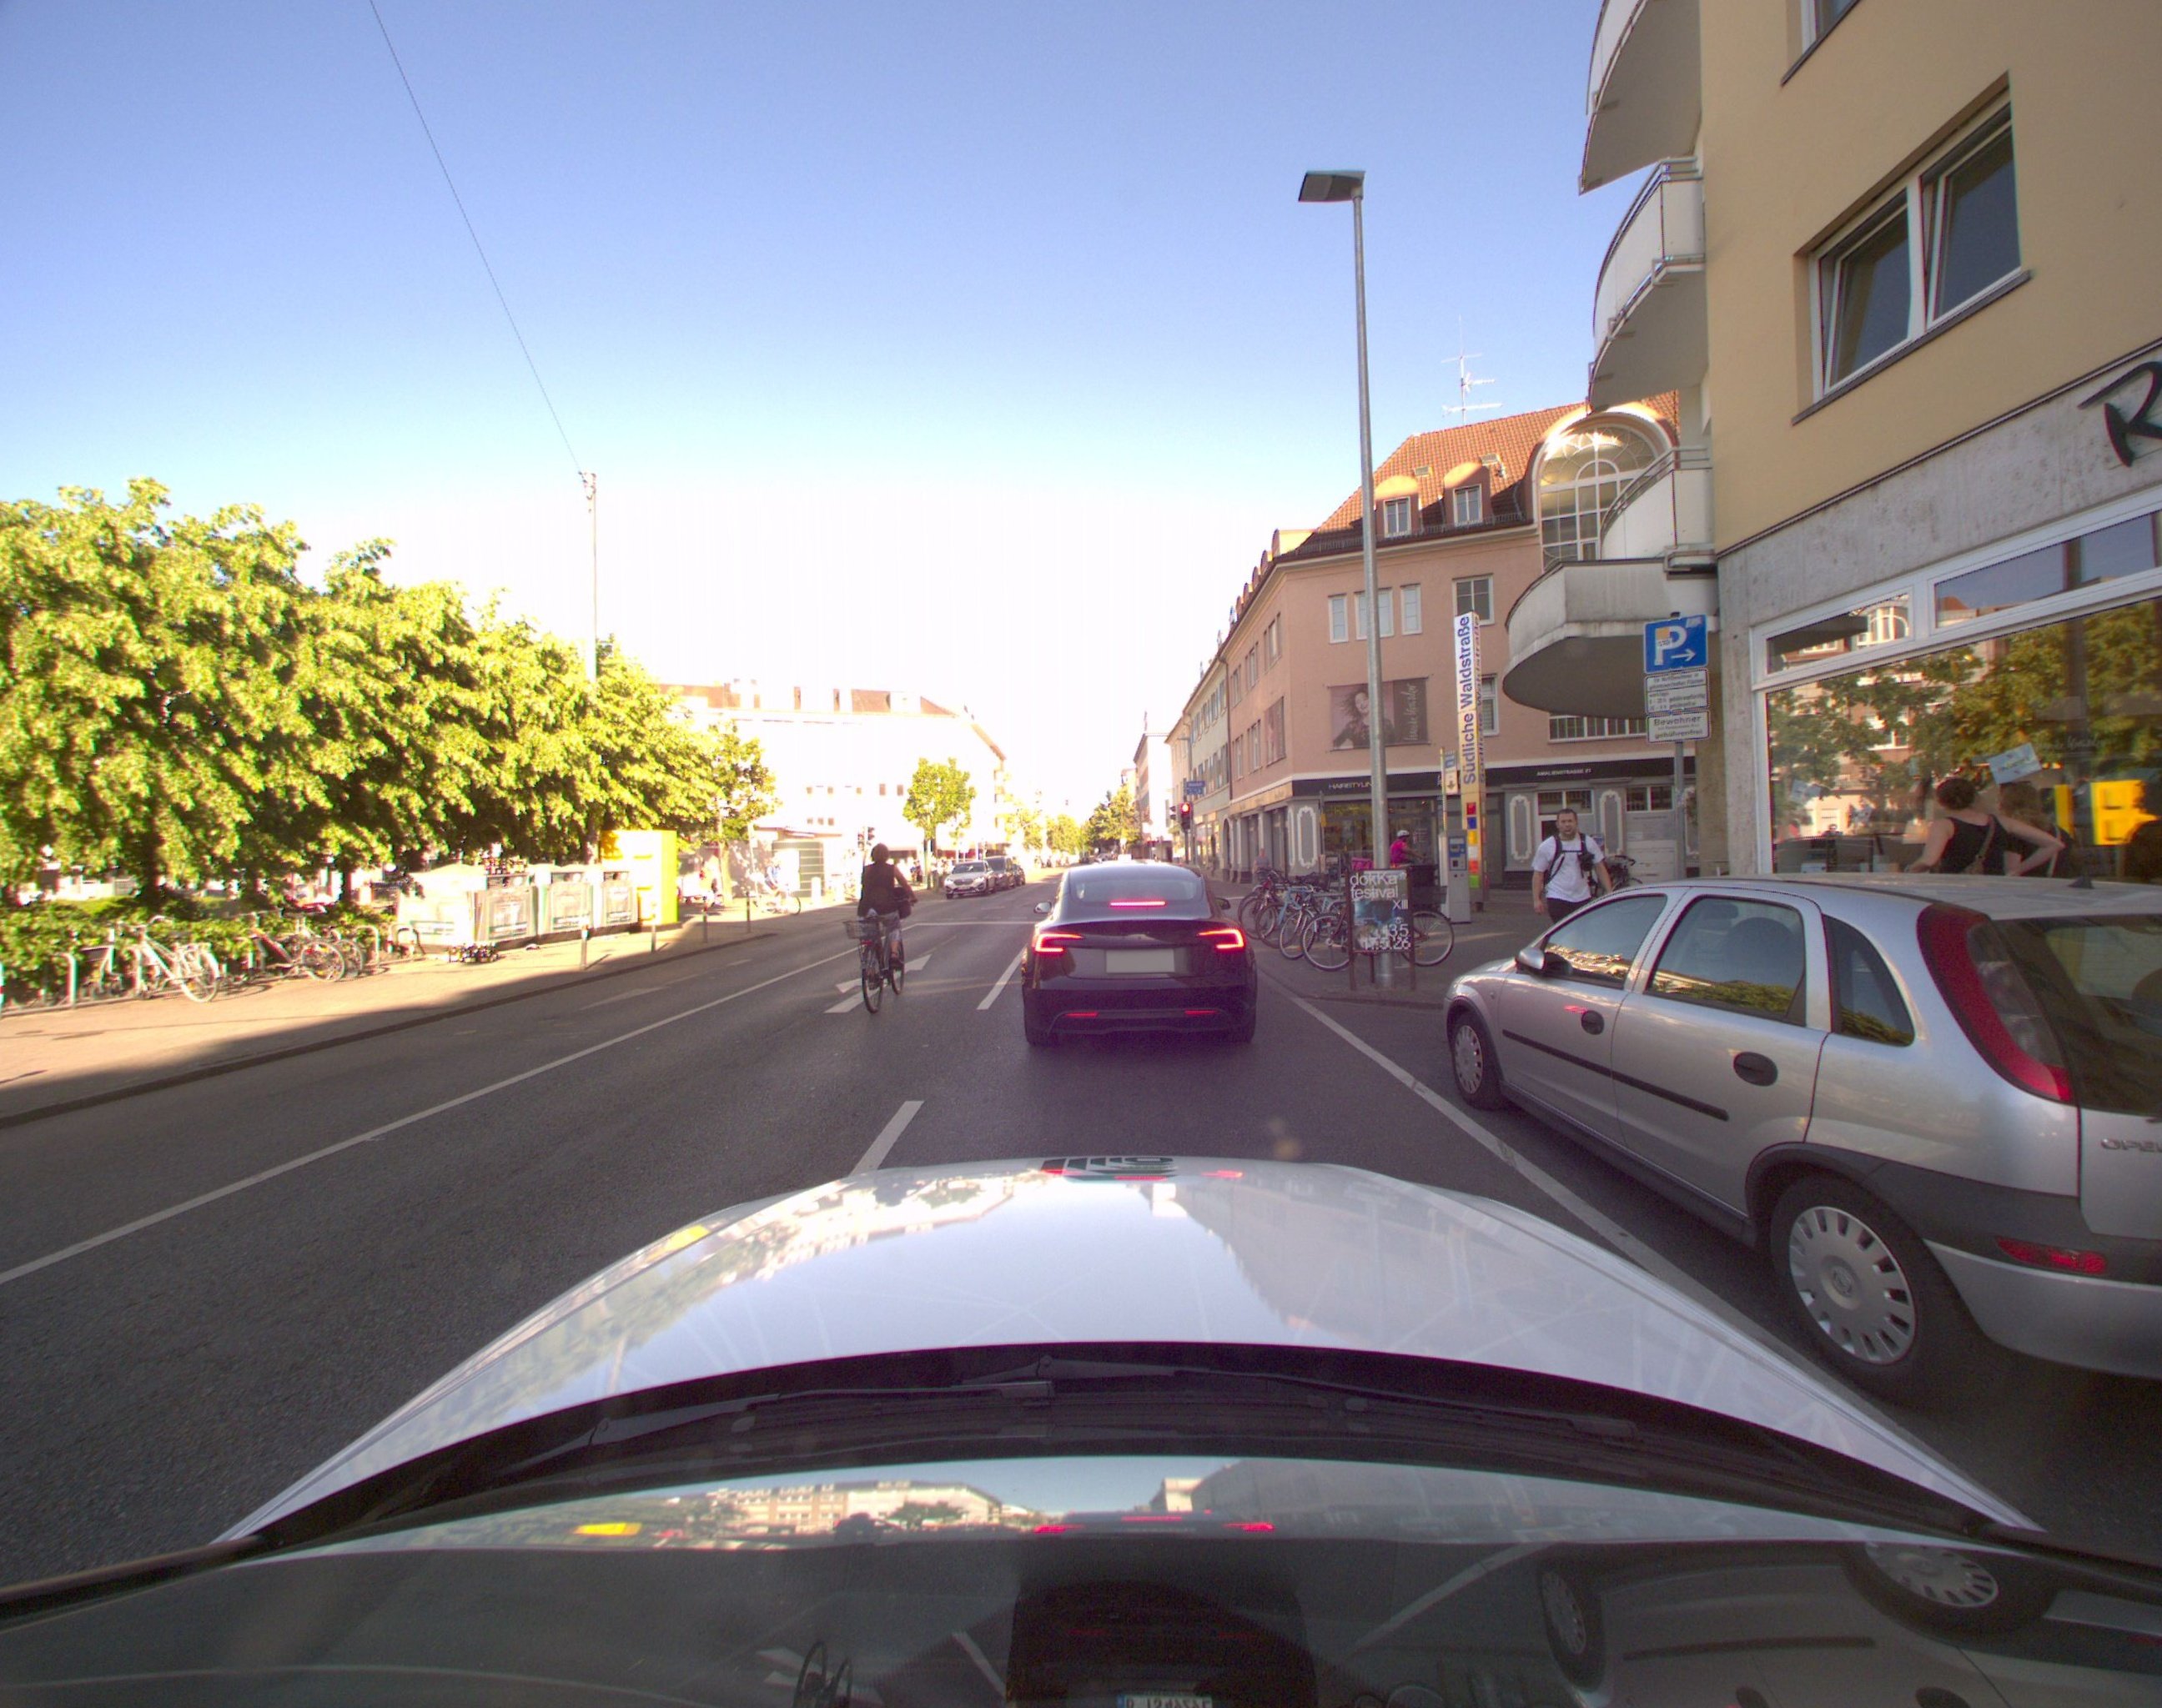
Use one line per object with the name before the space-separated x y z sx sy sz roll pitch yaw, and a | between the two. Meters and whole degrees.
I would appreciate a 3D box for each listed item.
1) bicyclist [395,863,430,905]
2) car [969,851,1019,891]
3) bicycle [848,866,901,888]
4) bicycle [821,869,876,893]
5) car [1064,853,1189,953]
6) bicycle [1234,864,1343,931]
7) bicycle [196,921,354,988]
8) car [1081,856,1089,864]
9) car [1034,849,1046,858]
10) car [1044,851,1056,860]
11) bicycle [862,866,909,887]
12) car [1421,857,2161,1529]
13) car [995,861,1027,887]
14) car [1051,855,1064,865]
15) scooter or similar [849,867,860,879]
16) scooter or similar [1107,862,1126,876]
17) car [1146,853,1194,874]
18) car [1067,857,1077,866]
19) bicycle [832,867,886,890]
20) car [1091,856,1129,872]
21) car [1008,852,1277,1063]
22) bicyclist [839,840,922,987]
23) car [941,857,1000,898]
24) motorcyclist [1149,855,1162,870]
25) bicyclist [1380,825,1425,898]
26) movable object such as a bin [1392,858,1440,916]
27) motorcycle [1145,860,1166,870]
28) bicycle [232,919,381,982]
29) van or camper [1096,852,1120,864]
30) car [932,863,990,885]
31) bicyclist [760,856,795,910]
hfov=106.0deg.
bicyclist | -22.840 1.019 27.820 0.701 1.381 0.577 -3 -2 14
car | -4.497 0.828 42.898 1.938 1.947 4.822 -1 0 2
bicycle | -12.157 1.356 47.961 2.867 1.270 0.942 0 -1 -1
bicycle | -12.327 1.430 43.221 2.652 1.195 0.942 0 -1 -1
car | 0.741 0.743 14.284 1.843 1.482 4.453 0 0 2
bicycle | 3.736 0.778 14.749 1.806 1.152 0.653 -1 0 3
bicycle | -11.427 1.417 11.580 1.667 0.859 0.469 0 -1 -5
car | 0.982 1.465 189.066 1.886 1.813 3.925 0 -1 0
car | -9.022 -0.025 180.115 2.266 2.014 4.720 0 -1 3
car | -7.166 0.278 188.710 2.266 2.014 4.720 0 -1 3
bicycle | -12.056 1.379 50.278 2.655 1.259 0.942 0 -1 -1
car | 2.960 0.733 3.524 1.578 1.426 3.581 0 -1 2
car | -4.258 1.198 50.024 1.455 1.430 3.607 -5 -1 2
car | -4.861 1.311 166.785 2.405 1.970 4.679 -1 0 2
scooter or similar | -17.383 1.449 62.500 0.787 0.957 0.462 0 -1 -11
scooter or similar | 2.884 1.251 66.970 1.339 1.134 0.804 0 -1 -23
car | 8.144 0.866 74.627 4.006 1.867 1.686 -1 0 -20
car | -2.000 1.766 187.406 2.124 1.970 4.135 -1 0 2
bicycle | -12.395 1.363 45.565 2.772 1.274 0.933 0 -1 -2
car | 3.371 1.214 94.743 3.955 1.788 2.054 -1 0 43
car | 0.495 0.733 7.860 1.843 1.447 4.453 0 0 2
bicyclist | -2.117 0.604 8.693 0.603 1.484 0.959 0 -1 3
car | -4.885 1.009 36.575 1.818 1.565 4.302 -5 -1 2
motorcyclist | 8.060 0.887 88.116 1.118 1.633 0.768 0 -1 -36
bicyclist | 8.060 0.187 20.442 0.859 1.755 0.683 -3 -2 9
movable object such as a bin | 6.745 0.654 16.410 0.633 1.103 0.728 -4 -1 5
motorcycle | 8.075 1.179 88.111 2.396 1.036 0.775 0 -1 -35
bicycle | -11.462 1.418 12.079 1.663 0.859 0.469 0 -1 -5
van or camper | 5.631 0.842 167.637 4.832 2.438 1.851 -1 0 1
car | -11.459 1.877 77.800 5.213 1.866 1.871 -1 0 -20
bicyclist | -9.771 0.932 26.254 0.800 1.709 0.707 -1 -1 28
